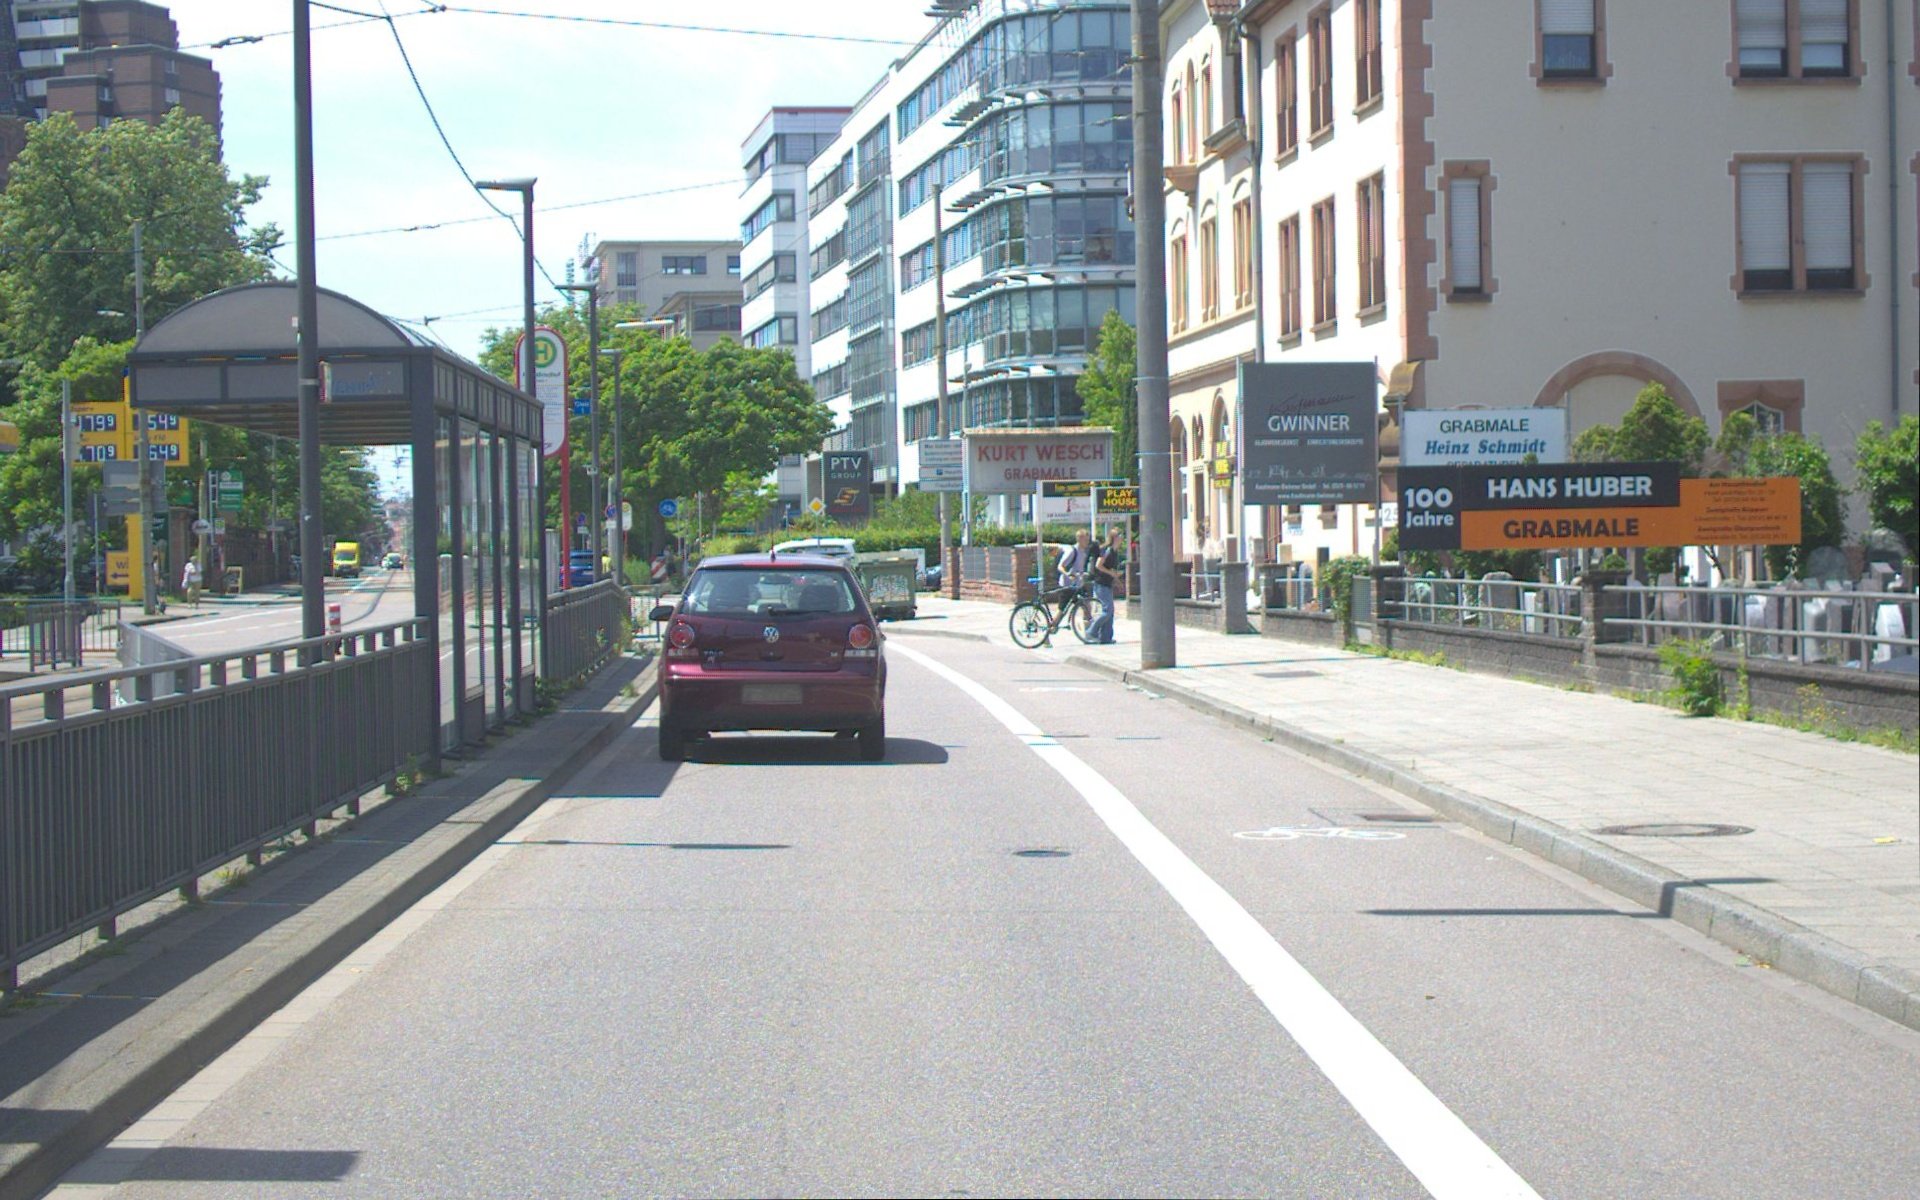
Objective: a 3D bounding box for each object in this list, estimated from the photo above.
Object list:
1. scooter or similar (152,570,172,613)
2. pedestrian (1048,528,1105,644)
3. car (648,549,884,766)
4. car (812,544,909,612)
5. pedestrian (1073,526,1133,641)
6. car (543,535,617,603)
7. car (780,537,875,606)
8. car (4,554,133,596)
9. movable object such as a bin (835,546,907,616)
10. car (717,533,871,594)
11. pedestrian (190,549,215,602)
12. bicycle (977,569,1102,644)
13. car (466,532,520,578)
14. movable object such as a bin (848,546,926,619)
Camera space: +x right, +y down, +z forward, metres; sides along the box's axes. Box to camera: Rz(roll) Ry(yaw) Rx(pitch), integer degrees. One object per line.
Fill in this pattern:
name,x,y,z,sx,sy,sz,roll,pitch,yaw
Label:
scooter or similar,-22.904,-0.247,98.661,0.518,1.196,1.377,0,1,-12
pedestrian,1.783,-0.214,52.728,0.688,1.766,0.502,-1,1,29
car,-1.379,0.368,25.670,1.619,1.481,4.000,0,1,-1
car,-2.476,-0.539,84.248,1.772,1.543,4.468,-3,1,-9
pedestrian,2.128,-0.246,51.234,0.824,1.685,0.589,-1,1,6
car,-11.477,-0.948,103.689,1.993,2.007,4.001,0,1,-10
car,-3.523,-0.768,90.548,1.924,1.687,5.083,-3,1,-8
car,-32.199,-0.917,124.272,1.932,1.483,4.443,1,1,31
movable object such as a bin,-1.952,-0.422,75.097,1.323,1.450,1.058,-4,1,-12
car,-5.141,-1.125,106.041,4.537,1.793,2.001,-1,1,-8
pedestrian,-24.670,-0.800,111.938,0.625,1.685,0.722,-1,1,-22
bicycle,1.212,0.103,52.507,1.804,1.123,0.589,-1,1,23
car,-18.132,-1.754,133.396,1.993,1.733,4.001,-2,1,-9
movable object such as a bin,-1.551,-0.382,72.950,1.391,1.450,1.139,-4,1,-12
